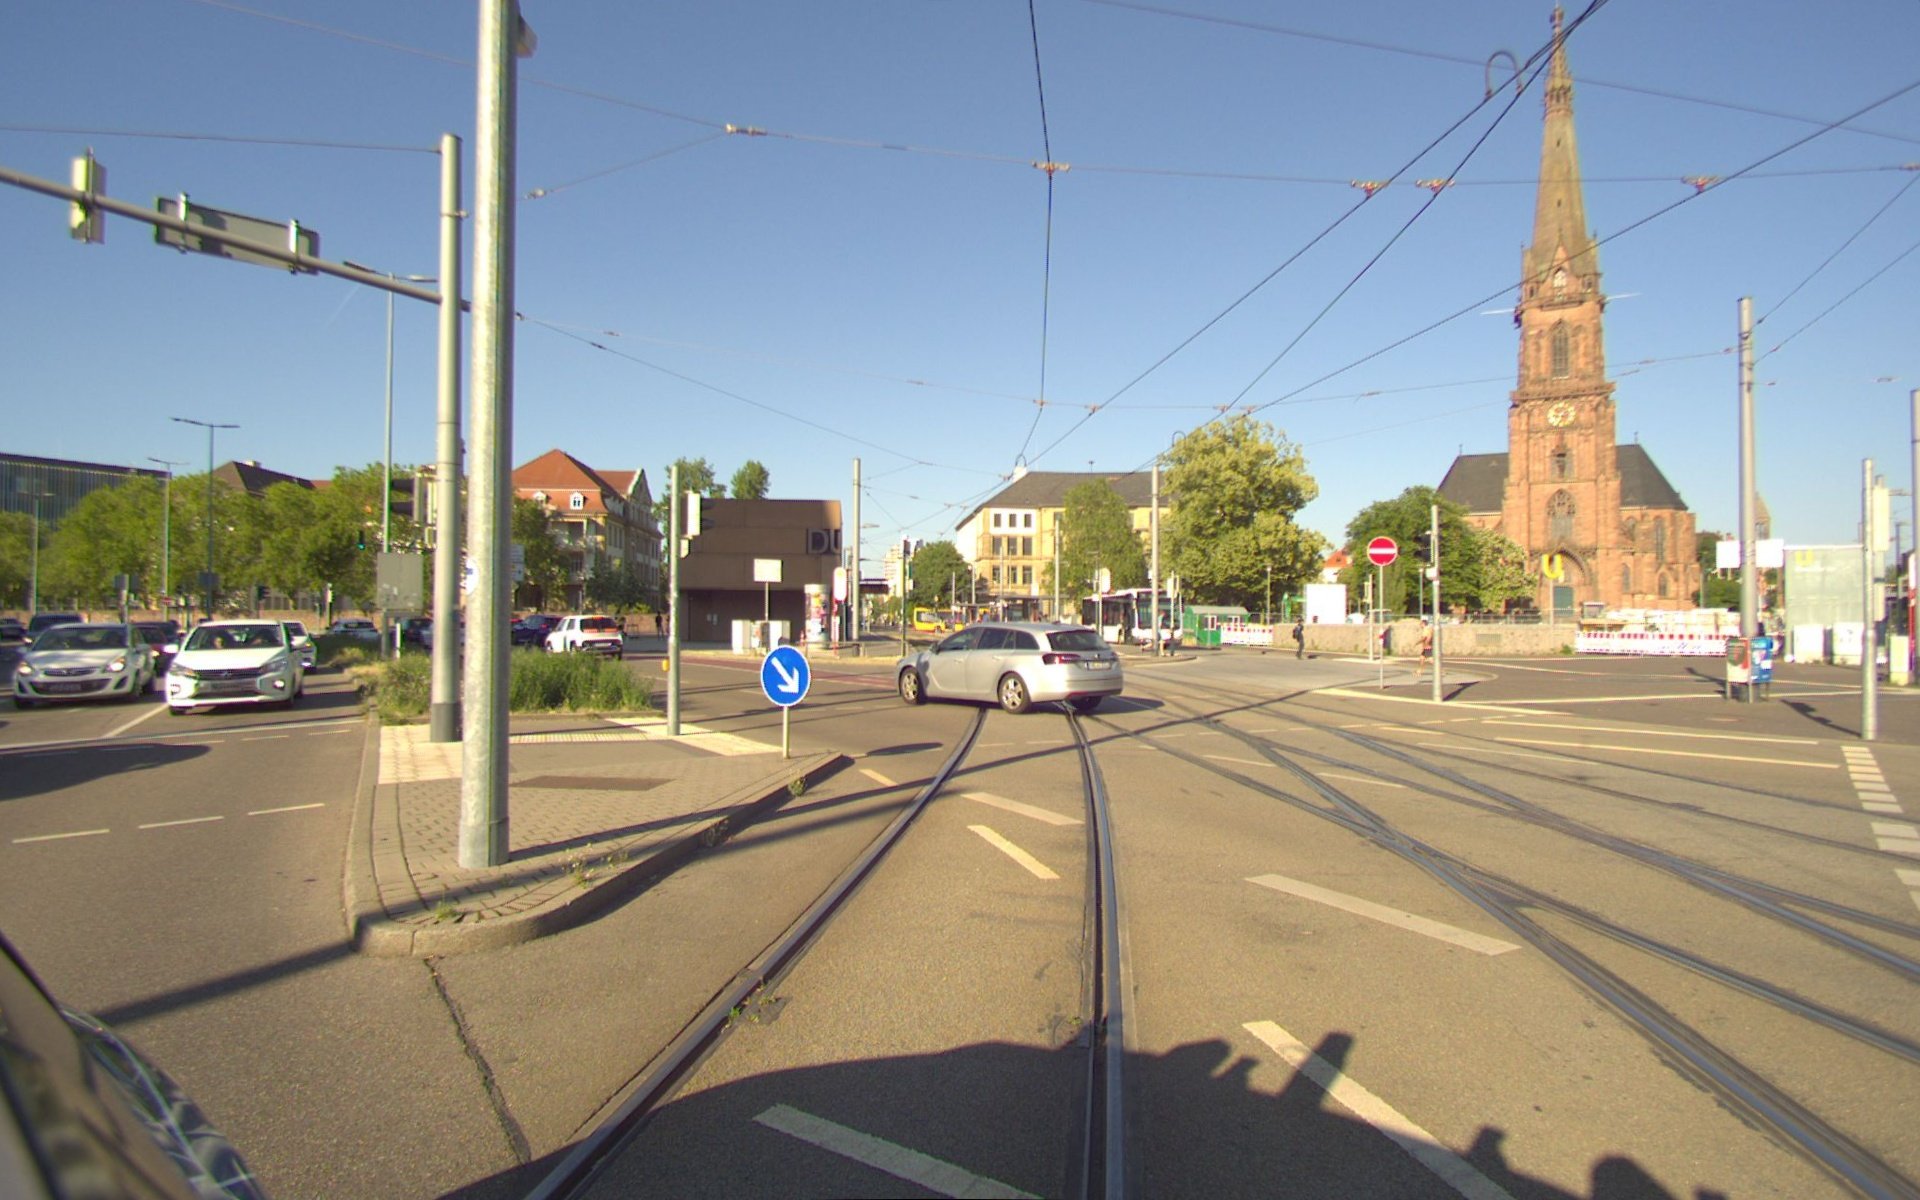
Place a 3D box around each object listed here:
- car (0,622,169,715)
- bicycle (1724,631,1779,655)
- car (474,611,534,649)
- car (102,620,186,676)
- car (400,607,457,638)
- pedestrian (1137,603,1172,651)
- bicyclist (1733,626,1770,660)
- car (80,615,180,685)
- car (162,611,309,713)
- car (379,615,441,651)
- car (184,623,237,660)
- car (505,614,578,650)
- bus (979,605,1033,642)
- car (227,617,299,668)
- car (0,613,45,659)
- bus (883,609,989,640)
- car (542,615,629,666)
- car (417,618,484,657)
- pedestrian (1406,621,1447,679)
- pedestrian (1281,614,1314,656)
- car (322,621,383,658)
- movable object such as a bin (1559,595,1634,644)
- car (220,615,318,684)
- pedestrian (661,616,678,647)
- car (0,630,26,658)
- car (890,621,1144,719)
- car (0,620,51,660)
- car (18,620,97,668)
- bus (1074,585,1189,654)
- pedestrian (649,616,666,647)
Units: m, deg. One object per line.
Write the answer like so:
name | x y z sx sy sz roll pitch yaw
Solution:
car | -16.230 1.186 18.881 1.754 1.475 3.927 1 -1 -30
bicycle | 33.845 1.838 43.291 1.968 0.949 0.818 1 3 -16
car | -25.245 1.662 55.942 1.969 2.029 4.006 1 -2 -41
car | -27.771 1.597 34.548 1.967 1.696 4.009 -2 0 -36
car | -30.216 1.288 57.513 1.831 1.642 3.874 -4 1 -43
pedestrian | 7.487 1.035 38.923 0.804 1.782 1.164 -3 0 40
bicyclist | 33.850 1.838 43.289 0.886 1.354 0.818 1 3 -17
car | -22.852 1.335 28.002 1.968 1.696 4.008 -2 0 -38
car | -12.293 0.982 17.384 1.692 1.503 3.882 -1 -1 -31
car | -28.354 1.688 52.127 1.831 1.642 3.874 -4 1 -43
car | -36.166 1.963 48.910 1.967 1.689 4.293 1 -2 -35
car | -21.396 1.624 51.636 4.037 1.642 1.839 -2 1 43
bus | 4.272 2.122 97.317 3.201 3.218 12.678 -2 0 -6
car | -24.738 1.460 35.908 1.967 1.689 4.293 1 -2 -35
car | -43.846 1.647 46.973 1.969 2.029 4.005 1 -2 -41
bus | -2.969 3.050 123.984 12.541 3.218 3.236 -2 0 15
car | -12.996 1.366 34.978 1.694 1.643 3.878 -1 -1 -38
car | -23.958 1.731 47.495 1.830 1.642 3.876 -4 1 -41
pedestrian | 14.153 1.507 30.714 1.050 1.699 0.723 -2 0 24
pedestrian | 14.277 1.476 42.840 1.038 1.699 0.731 -2 0 -20
car | -29.976 1.918 49.883 1.830 1.642 3.875 -4 1 -42
movable object such as a bin | 35.799 1.055 57.112 2.617 2.545 5.131 -2 0 22
car | -18.430 1.261 26.984 1.967 1.689 4.294 1 -2 -35
pedestrian | -17.286 1.843 60.275 0.791 1.782 0.975 -2 0 -10
car | -63.242 2.913 66.579 4.702 1.696 1.974 -2 0 39
car | 0.825 1.086 17.218 1.817 1.434 4.440 1 -2 -39
car | -48.709 2.056 52.705 1.969 2.029 4.005 1 -2 -41
car | -34.674 1.655 38.967 1.793 1.741 4.010 1 -2 -35
bus | 9.121 0.976 55.833 2.798 3.218 12.678 -2 0 -6
pedestrian | -17.802 1.866 59.568 0.791 1.782 0.975 -2 0 -10
